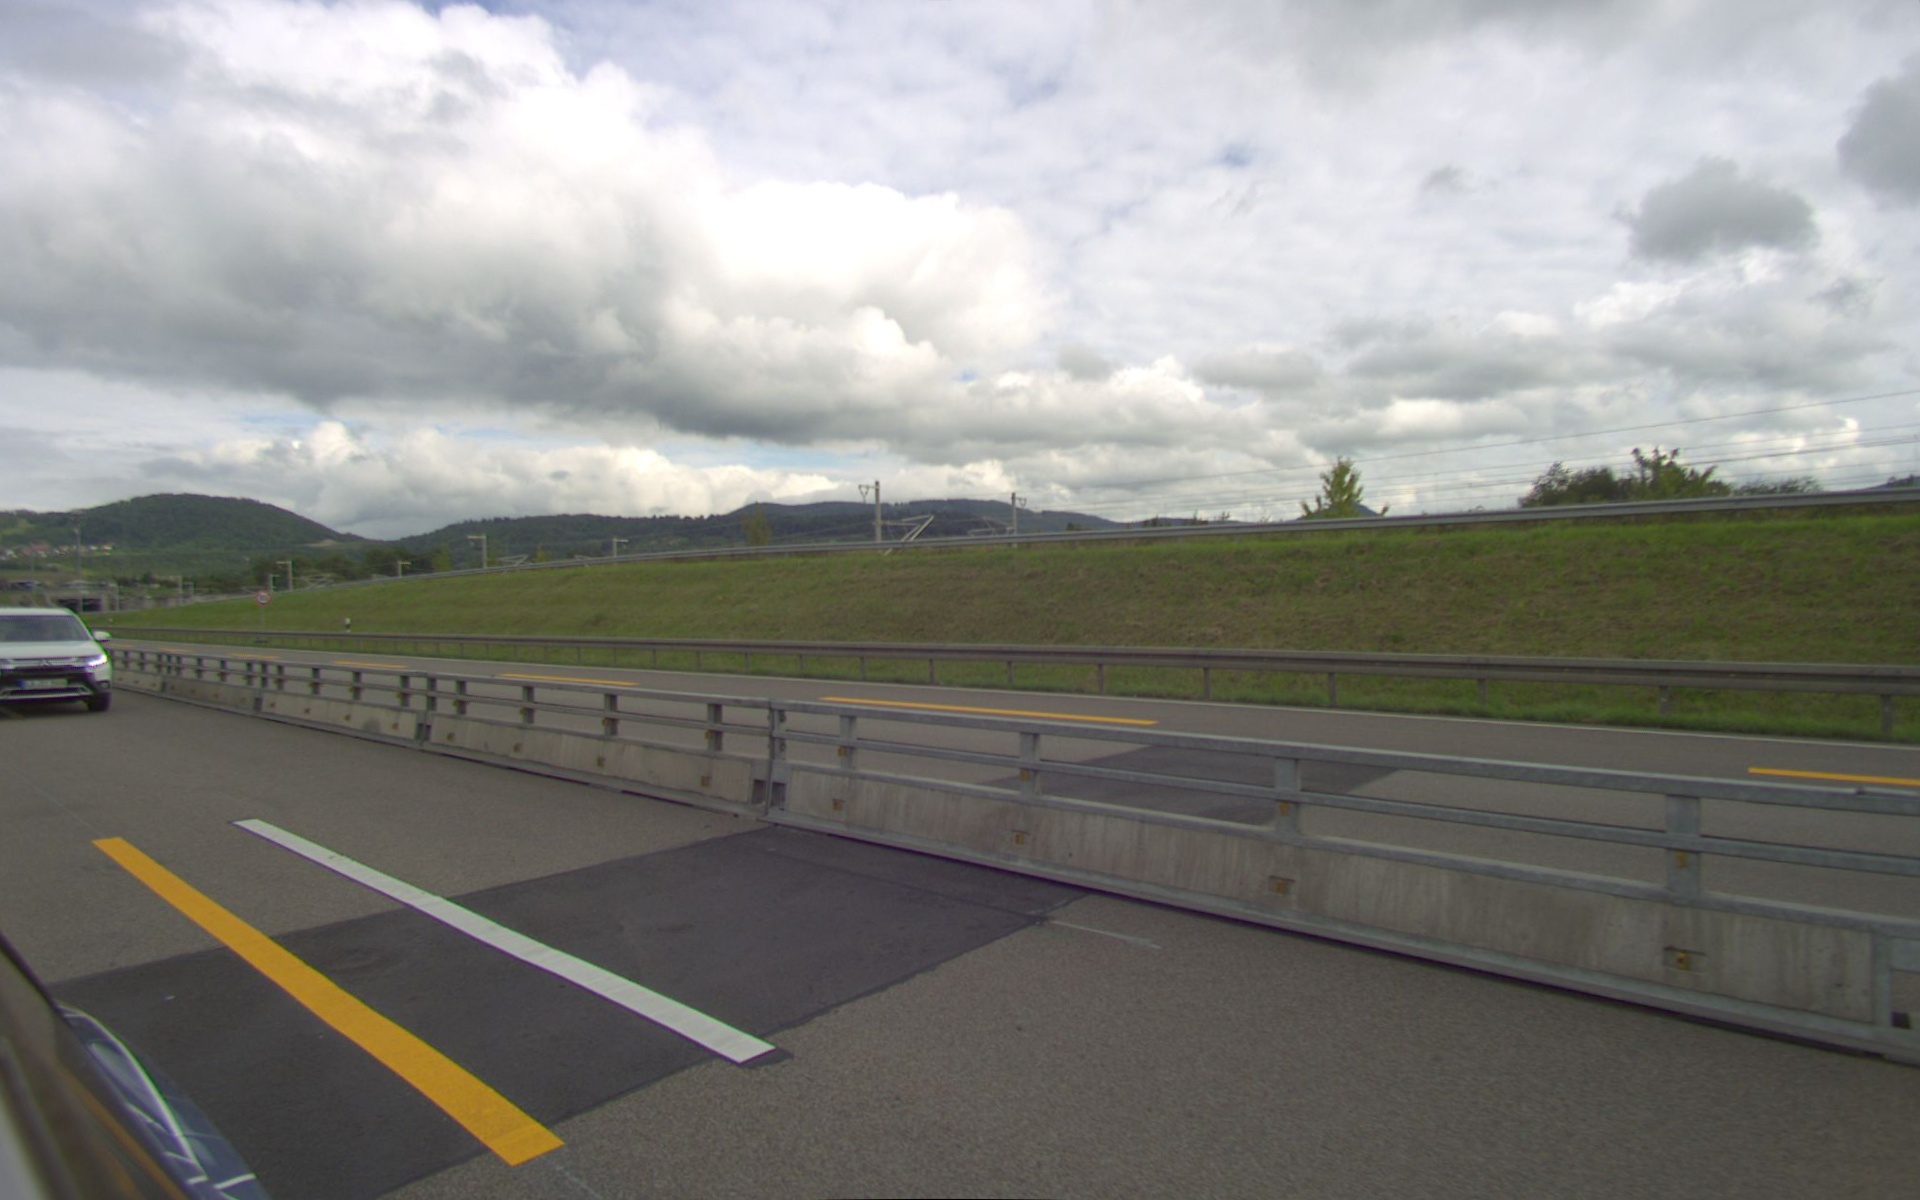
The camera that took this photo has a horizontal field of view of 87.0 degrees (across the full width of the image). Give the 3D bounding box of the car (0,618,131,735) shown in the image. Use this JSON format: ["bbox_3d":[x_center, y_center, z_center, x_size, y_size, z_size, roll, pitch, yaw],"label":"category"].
[{"bbox_3d":[-14.955,1.136,16.174,4.606,1.640,1.972,-2,-2,42],"label":"car"}]
